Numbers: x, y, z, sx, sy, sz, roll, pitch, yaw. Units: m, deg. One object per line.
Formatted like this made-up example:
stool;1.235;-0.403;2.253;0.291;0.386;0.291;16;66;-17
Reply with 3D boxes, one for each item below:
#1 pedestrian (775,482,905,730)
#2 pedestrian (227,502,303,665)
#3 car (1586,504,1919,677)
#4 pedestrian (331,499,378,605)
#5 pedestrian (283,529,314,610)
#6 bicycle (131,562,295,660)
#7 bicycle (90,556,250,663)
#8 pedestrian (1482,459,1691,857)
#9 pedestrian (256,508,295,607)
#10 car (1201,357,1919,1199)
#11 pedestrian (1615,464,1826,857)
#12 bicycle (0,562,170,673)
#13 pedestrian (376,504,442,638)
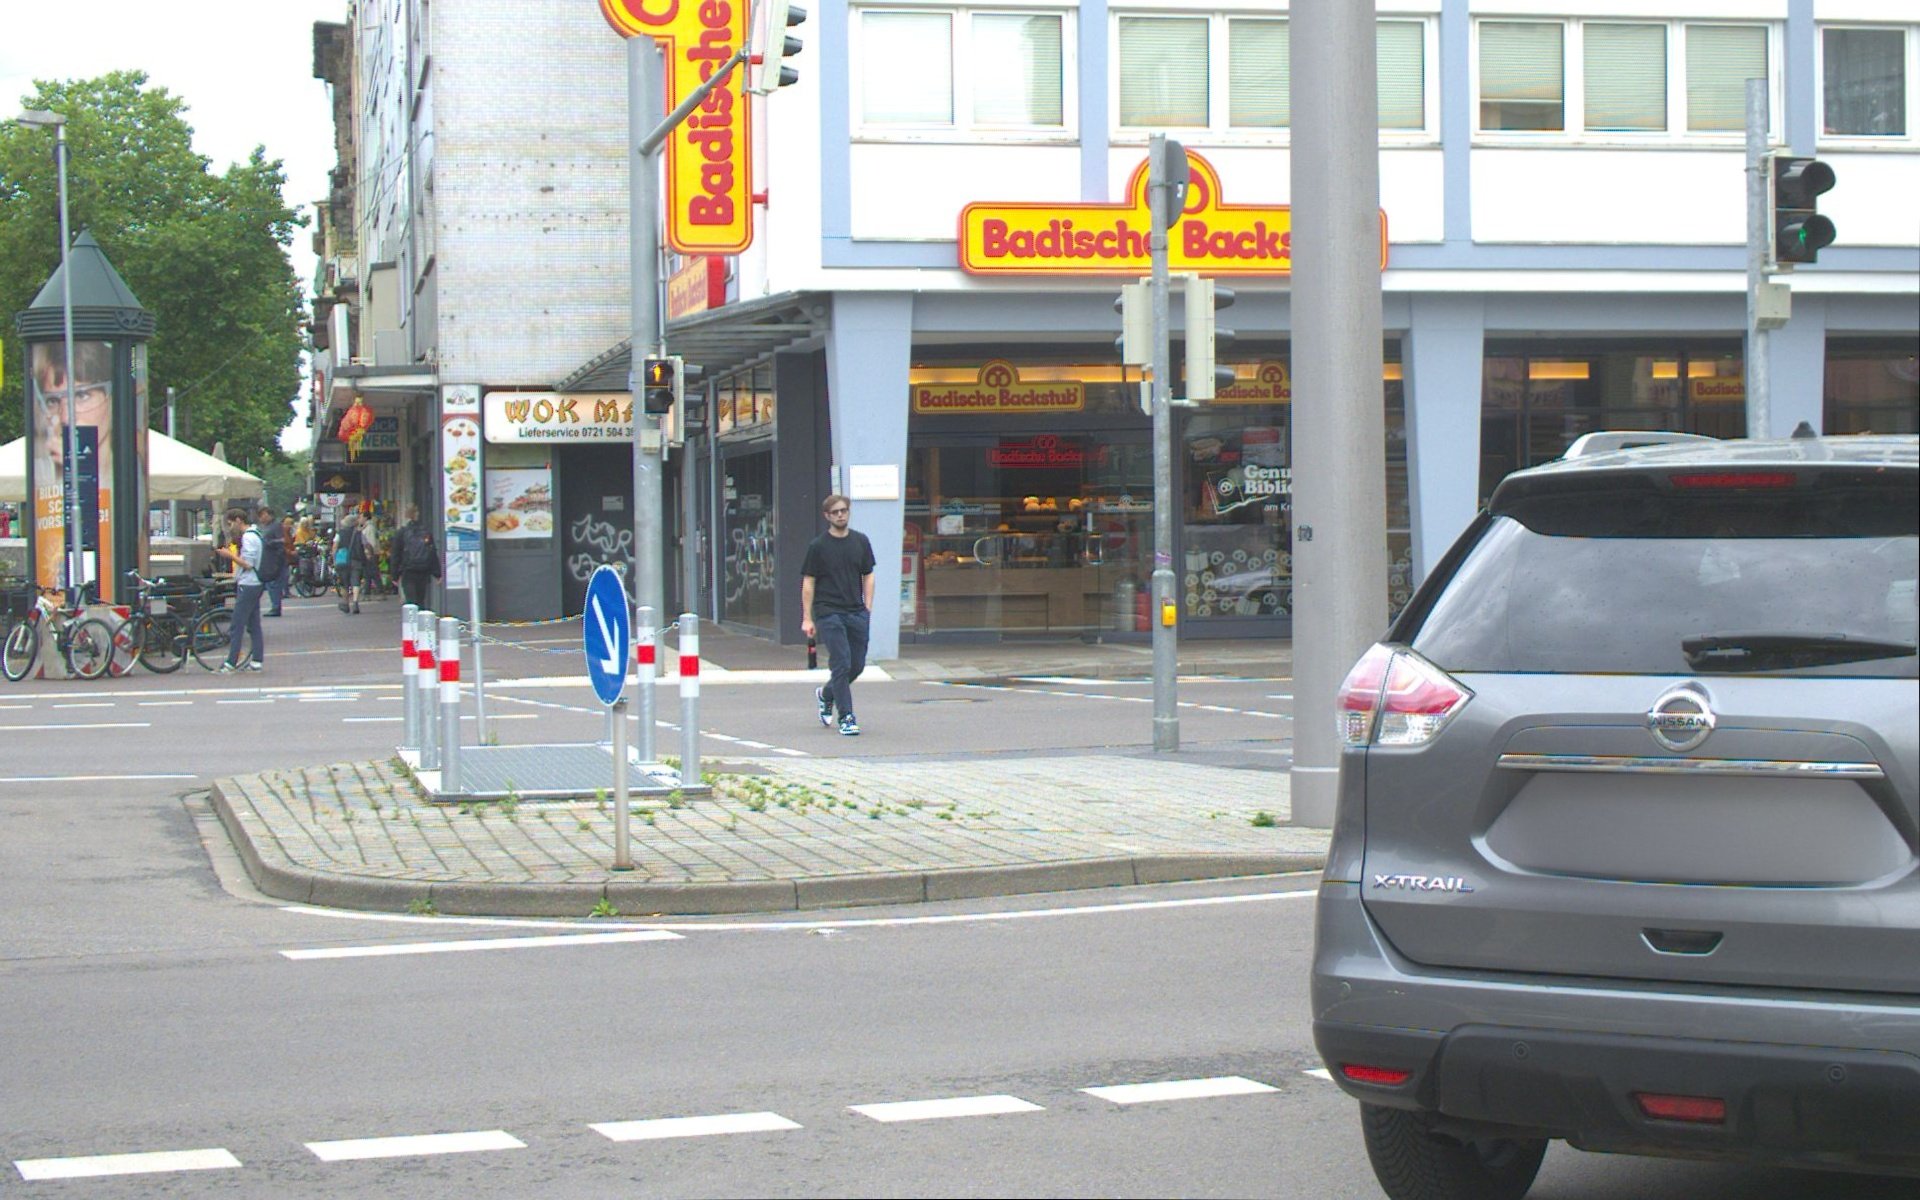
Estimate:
pedestrian;-0.911;0.037;25.926;0.712;1.826;1.017;0;1;-18
pedestrian;-7.520;-0.181;37.188;0.732;1.740;0.663;0;1;-18
car;8.243;-0.132;31.611;4.550;1.476;1.749;-2;1;-13
pedestrian;-10.491;-0.832;59.561;0.737;1.815;0.662;-1;1;-13
pedestrian;-13.995;-0.650;72.741;0.611;1.699;0.620;0;1;-10
bicycle;-8.151;0.118;37.542;1.695;1.062;0.437;0;1;-4
bicycle;-8.755;0.104;38.091;1.695;1.168;0.437;0;1;-17
pedestrian;2.839;0.249;15.628;0.621;1.755;0.780;0;1;-18
pedestrian;-11.901;-0.740;59.765;0.643;1.699;0.559;0;1;-10
car;2.403;0.434;8.089;1.866;1.768;4.559;1;1;30
pedestrian;3.492;0.264;15.819;0.621;1.755;0.780;0;1;-18
bicycle;-9.538;0.182;37.205;1.867;1.168;0.531;0;1;-25
pedestrian;-7.053;-0.371;44.018;0.710;1.699;0.734;0;1;2
